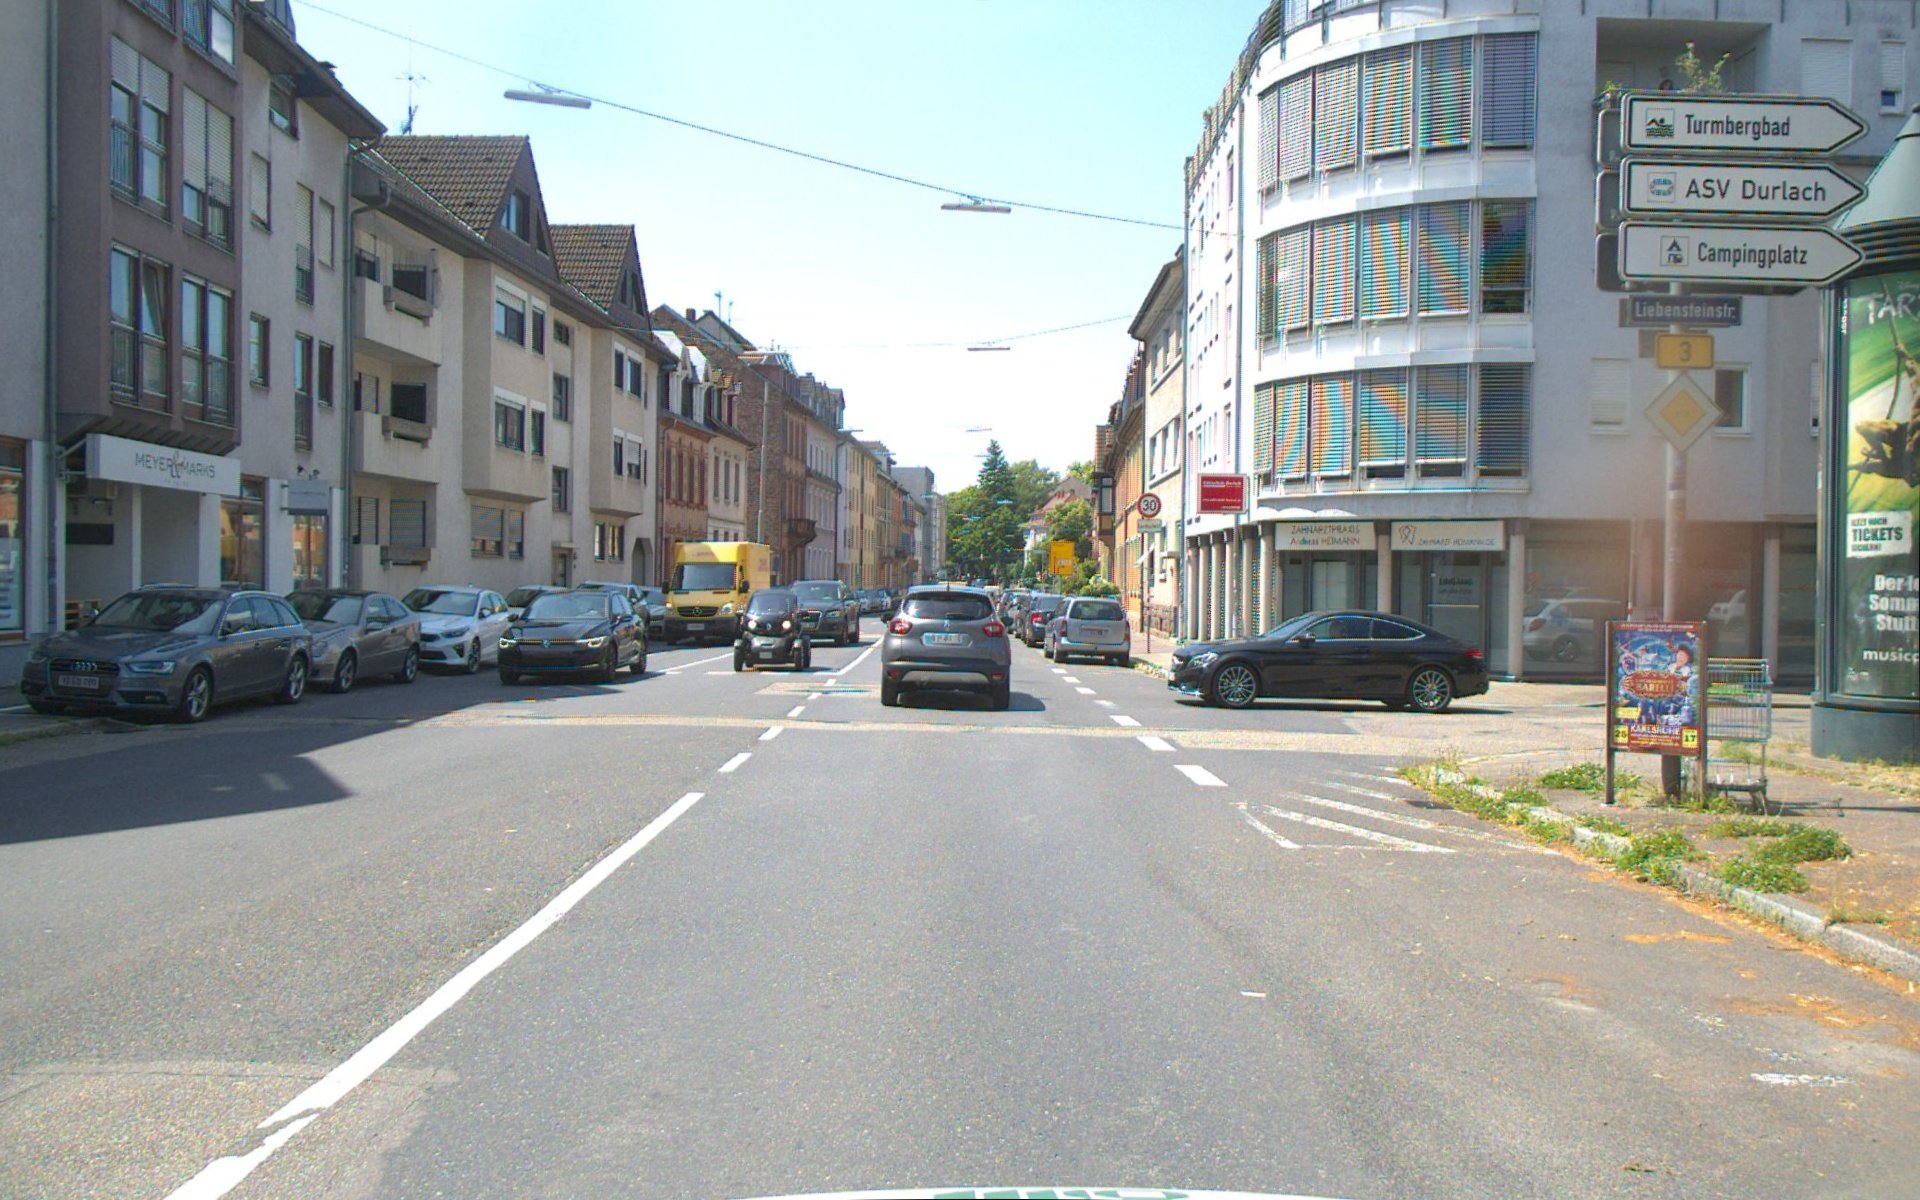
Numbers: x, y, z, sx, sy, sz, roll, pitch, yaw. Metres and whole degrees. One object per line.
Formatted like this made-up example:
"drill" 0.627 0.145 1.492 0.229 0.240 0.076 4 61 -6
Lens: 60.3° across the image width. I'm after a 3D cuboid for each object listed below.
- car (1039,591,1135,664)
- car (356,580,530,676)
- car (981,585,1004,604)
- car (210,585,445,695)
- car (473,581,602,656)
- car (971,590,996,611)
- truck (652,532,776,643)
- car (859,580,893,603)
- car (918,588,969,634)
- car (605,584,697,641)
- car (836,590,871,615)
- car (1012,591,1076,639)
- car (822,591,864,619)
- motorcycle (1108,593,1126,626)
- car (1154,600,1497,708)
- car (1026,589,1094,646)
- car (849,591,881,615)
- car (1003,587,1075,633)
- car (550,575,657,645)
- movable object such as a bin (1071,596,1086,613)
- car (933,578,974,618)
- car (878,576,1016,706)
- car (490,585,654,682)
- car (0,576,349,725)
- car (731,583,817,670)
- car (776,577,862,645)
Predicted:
"car" 2.811 0.583 37.340 1.644 1.479 4.141 2 0 -2
"car" -9.291 0.473 30.111 1.803 1.515 4.385 3 0 -2
"car" 2.771 -0.461 140.902 1.726 1.587 3.944 1 0 4
"car" -9.335 0.553 24.817 1.802 1.408 4.326 3 0 0
"car" -9.573 0.408 37.799 1.802 1.515 4.385 3 0 -1
"car" 1.905 0.045 132.904 1.726 1.587 3.944 1 0 4
"truck" -6.733 -0.332 46.173 2.179 2.819 7.564 -1 0 1
"car" -5.762 -0.582 113.397 1.801 1.447 4.560 -2 0 3
"car" -0.573 0.382 61.819 1.775 1.649 4.442 0 0 1
"car" -9.111 0.353 49.088 1.802 1.514 4.386 3 0 0
"car" -6.517 0.179 101.251 1.802 1.447 4.502 -1 0 0
"car" 2.602 0.441 52.137 1.618 1.445 4.046 1 0 -3
"car" -6.776 0.286 95.997 1.801 1.447 4.504 -3 0 3
"motorcycle" 6.092 0.360 64.149 0.583 1.246 1.361 1 0 1
"car" 5.236 0.761 24.100 4.489 1.389 1.999 2 0 -3
"car" 2.754 0.454 46.295 1.676 1.499 4.438 1 0 0
"car" -6.122 0.197 107.177 1.802 1.447 4.646 -1 0 0
"car" 2.693 0.331 57.474 1.818 1.489 4.545 2 0 -6
"car" -9.266 0.252 43.306 1.802 1.623 4.385 3 0 -1
"movable object such as a bin" 6.523 0.242 91.179 0.772 0.923 0.539 0 0 -1
"car" -0.310 -0.108 86.993 1.952 2.049 4.468 0 0 3
"car" -0.258 0.509 23.216 1.709 1.644 3.997 1 1 -4
"car" -6.202 0.493 26.894 1.707 1.444 4.222 0 0 -1
"car" -9.257 0.535 19.945 1.802 1.472 4.969 3 0 1
"car" -3.355 0.455 30.104 1.468 1.484 2.719 1 0 -5
"car" -3.582 0.273 42.752 1.775 1.649 4.442 0 0 1
